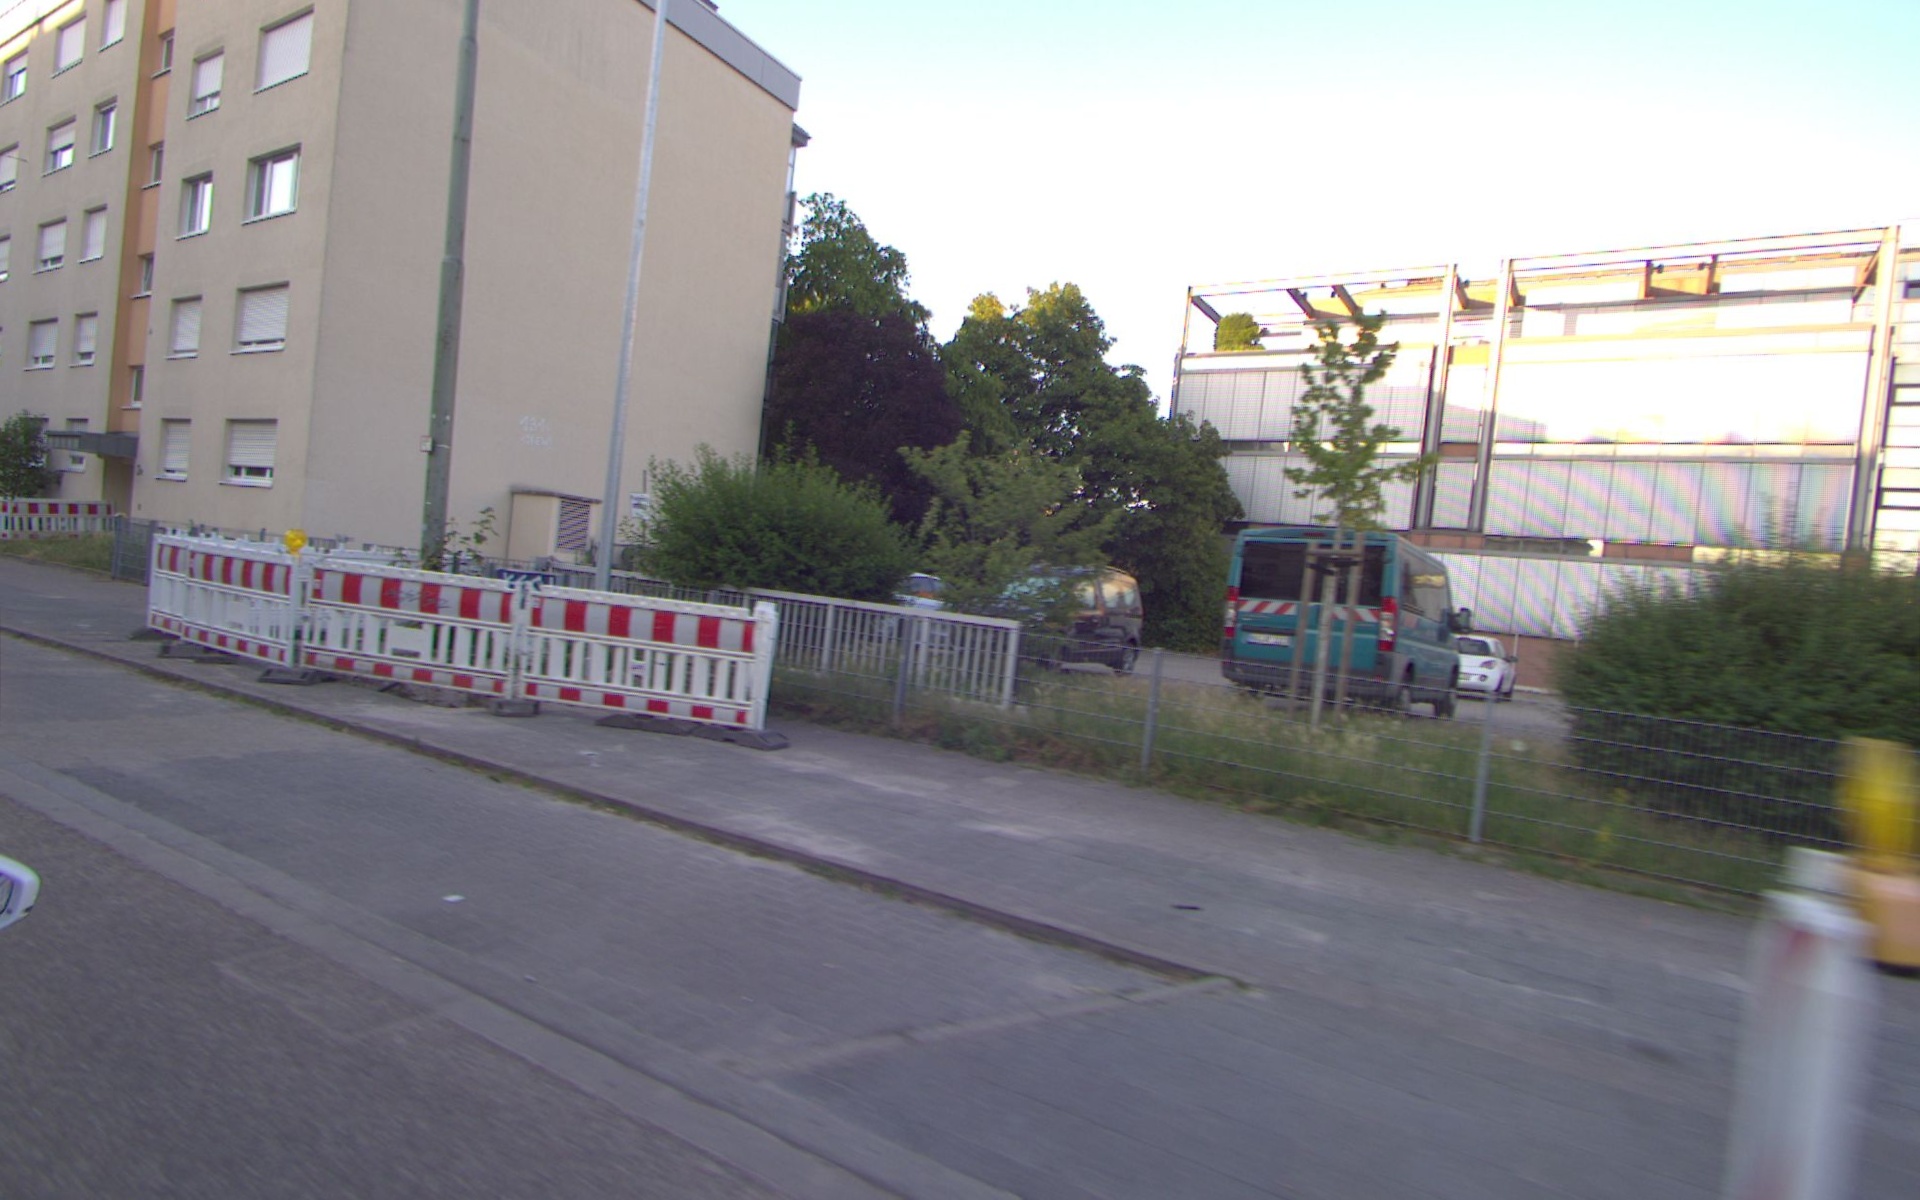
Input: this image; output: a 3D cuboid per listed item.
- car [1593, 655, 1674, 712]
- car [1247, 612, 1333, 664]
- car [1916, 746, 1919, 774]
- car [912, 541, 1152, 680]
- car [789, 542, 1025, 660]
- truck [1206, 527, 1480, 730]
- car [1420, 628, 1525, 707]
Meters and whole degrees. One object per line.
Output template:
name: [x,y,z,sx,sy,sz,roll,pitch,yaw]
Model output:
car: [21.297,2.586,31.873,1.872,1.451,4.166,7,1,34]
car: [12.595,1.468,38.213,1.967,1.668,4.215,7,0,33]
car: [11.724,1.284,10.192,1.967,1.714,3.990,7,1,31]
car: [1.322,0.240,16.426,1.967,1.849,4.215,7,1,33]
car: [-0.797,0.096,17.850,1.967,1.668,4.215,7,0,33]
truck: [5.240,0.408,13.363,2.080,2.117,4.495,7,1,37]
car: [12.121,1.581,23.715,1.747,1.535,3.208,7,1,33]
